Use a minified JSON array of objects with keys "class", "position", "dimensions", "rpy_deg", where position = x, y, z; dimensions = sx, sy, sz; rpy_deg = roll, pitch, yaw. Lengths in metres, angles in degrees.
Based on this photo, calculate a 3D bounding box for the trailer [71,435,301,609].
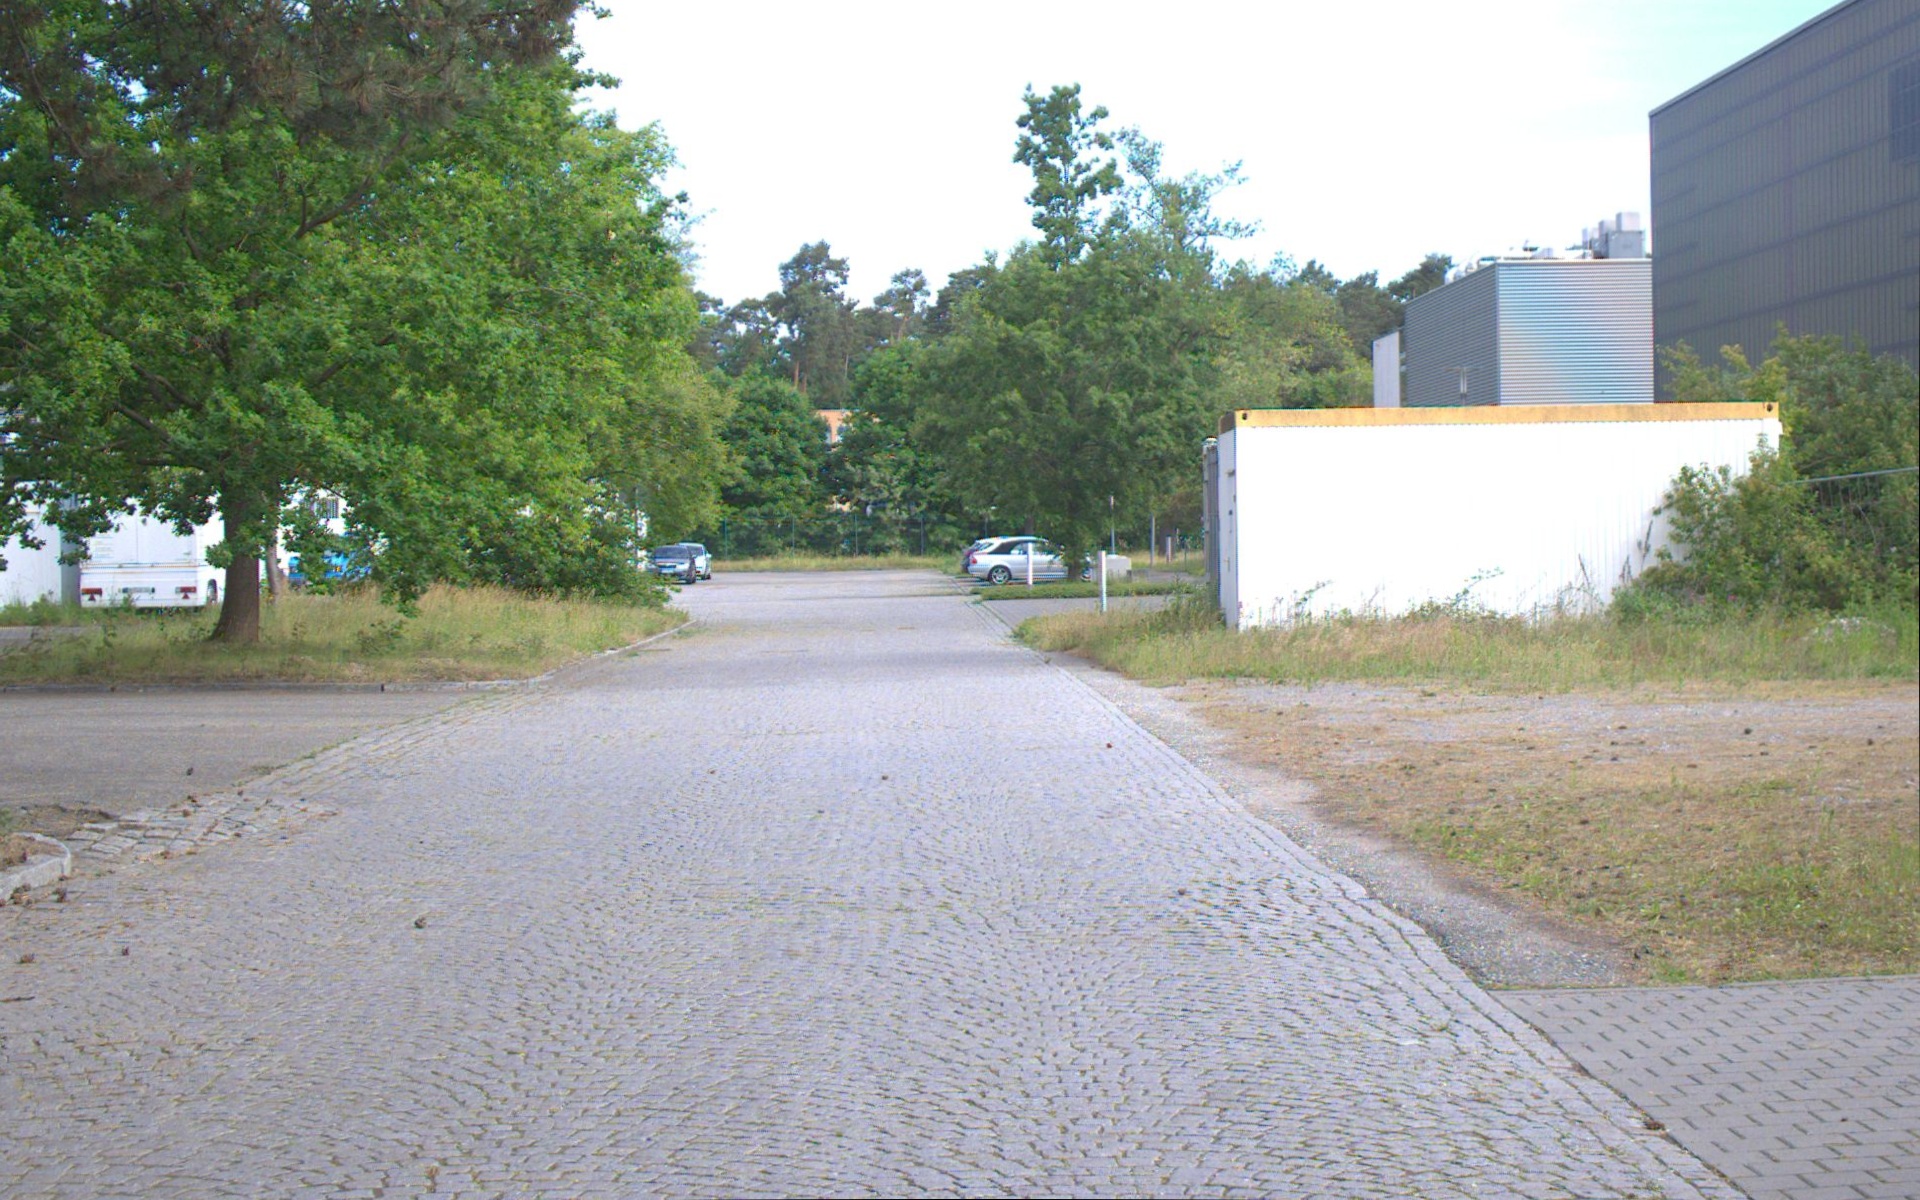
[{"class":"trailer","position":[-17.161,-1.739,77.014],"dimensions":[2.625,3.585,10.177],"rpy_deg":[-1,1,1]}]

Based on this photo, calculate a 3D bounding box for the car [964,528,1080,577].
[{"class":"car","position":[1.915,-1.495,107.490],"dimensions":[3.522,1.357,1.622],"rpy_deg":[-3,1,0]}]

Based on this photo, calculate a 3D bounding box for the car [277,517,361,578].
[{"class":"car","position":[-21.726,-1.805,116.726],"dimensions":[1.993,2.007,4.768],"rpy_deg":[-1,1,-1]}]

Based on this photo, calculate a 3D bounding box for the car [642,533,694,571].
[{"class":"car","position":[-10.943,-1.819,128.892],"dimensions":[1.647,1.364,3.998],"rpy_deg":[-1,1,-1]}]

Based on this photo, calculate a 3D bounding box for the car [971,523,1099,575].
[{"class":"car","position":[2.398,-1.647,110.188],"dimensions":[3.984,1.443,1.653],"rpy_deg":[-3,1,0]}]

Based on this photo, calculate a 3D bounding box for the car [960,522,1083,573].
[{"class":"car","position":[2.051,-1.770,115.315],"dimensions":[3.984,1.470,1.653],"rpy_deg":[-3,1,0]}]
